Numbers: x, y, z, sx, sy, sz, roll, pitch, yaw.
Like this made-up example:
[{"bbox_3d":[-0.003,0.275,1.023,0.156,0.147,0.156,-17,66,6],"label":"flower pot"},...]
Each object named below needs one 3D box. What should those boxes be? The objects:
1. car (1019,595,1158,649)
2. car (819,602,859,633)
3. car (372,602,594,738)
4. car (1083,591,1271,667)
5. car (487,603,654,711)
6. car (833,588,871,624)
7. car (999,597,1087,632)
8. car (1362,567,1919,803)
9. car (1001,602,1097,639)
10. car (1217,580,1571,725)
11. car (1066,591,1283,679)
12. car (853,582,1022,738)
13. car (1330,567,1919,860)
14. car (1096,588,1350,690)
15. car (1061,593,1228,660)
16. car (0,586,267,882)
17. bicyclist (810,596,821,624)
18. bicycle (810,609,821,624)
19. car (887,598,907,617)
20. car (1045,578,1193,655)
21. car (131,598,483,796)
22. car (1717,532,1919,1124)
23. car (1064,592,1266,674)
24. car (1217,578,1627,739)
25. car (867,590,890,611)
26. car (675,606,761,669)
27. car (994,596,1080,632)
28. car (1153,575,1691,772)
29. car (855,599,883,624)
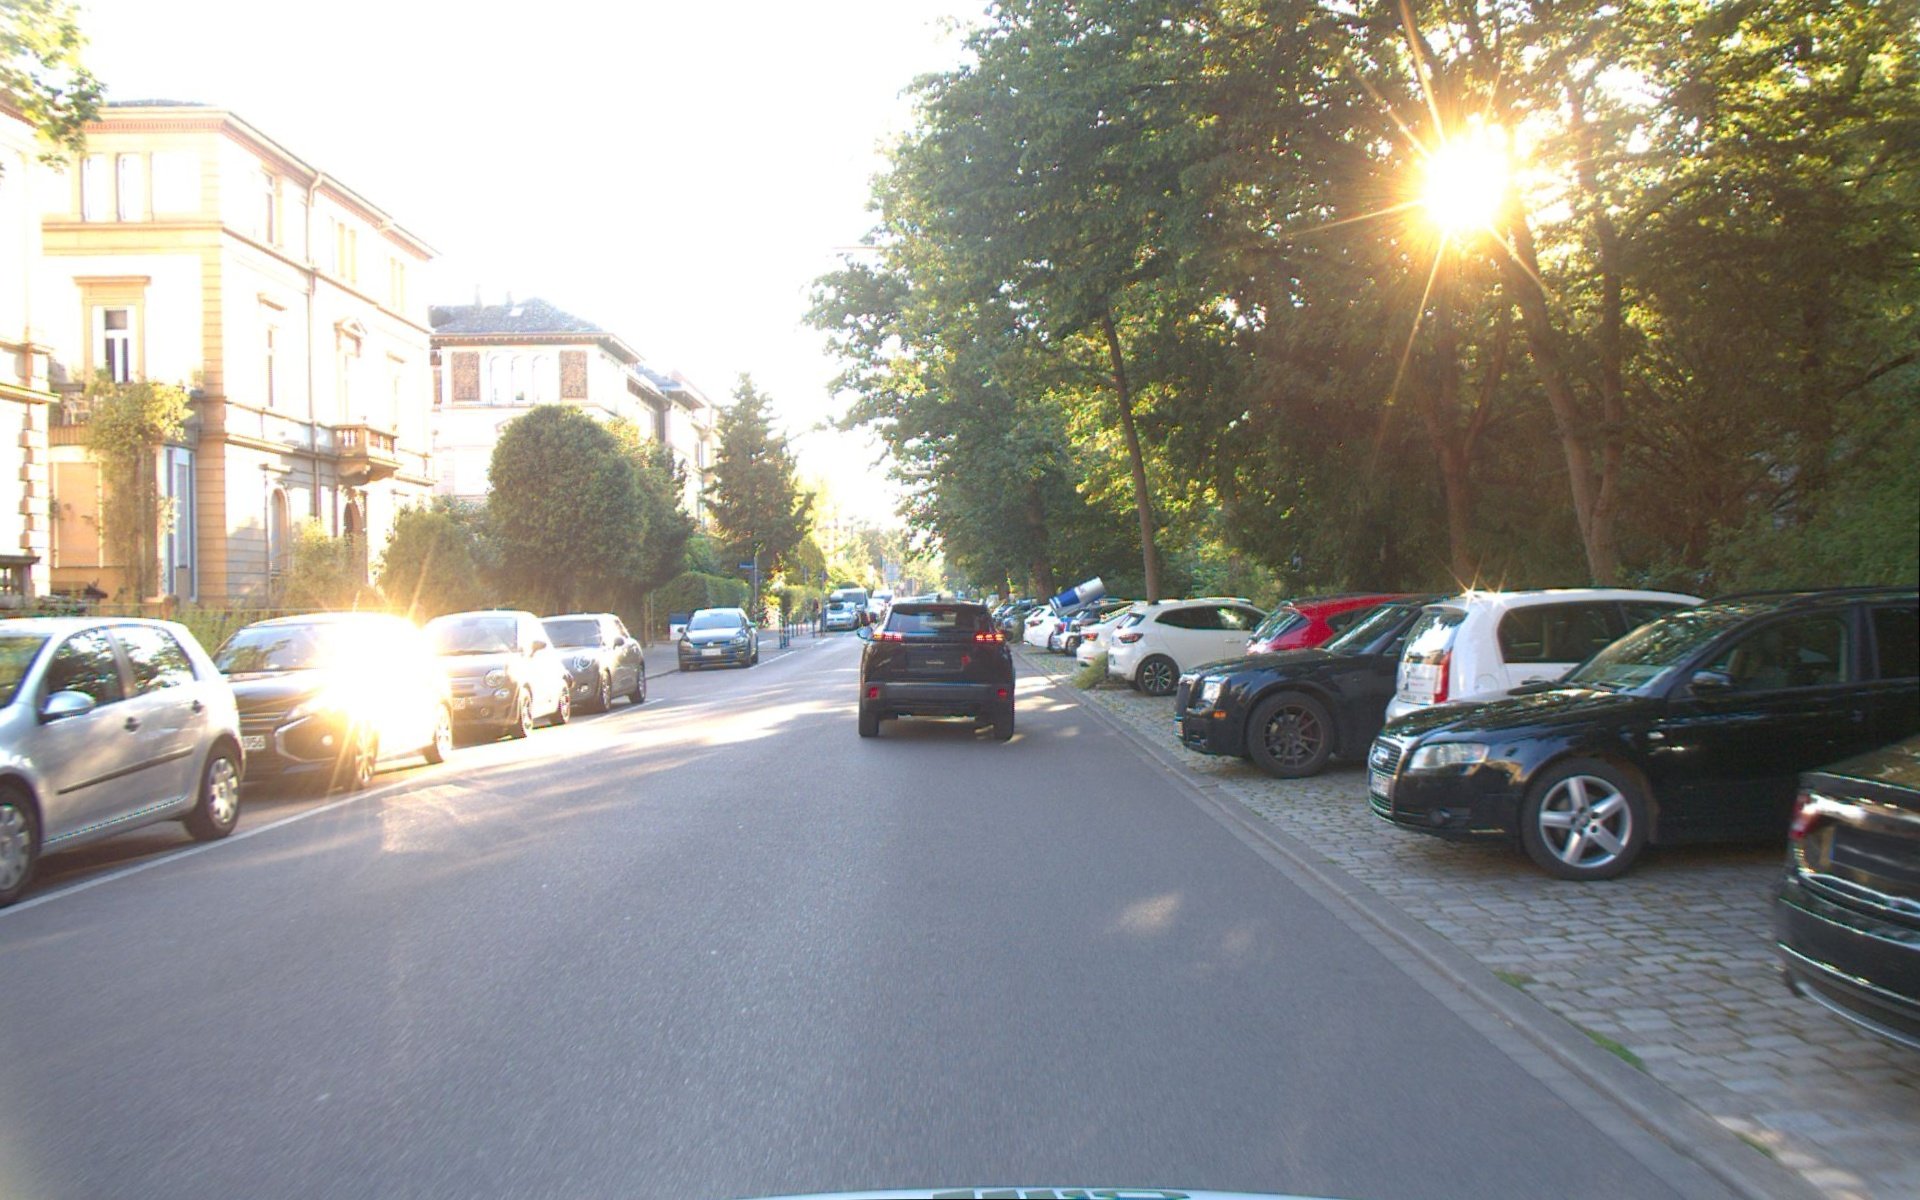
[{"bbox_3d":[3.802,0.649,49.311,3.910,1.552,1.756,0,0,-6],"label":"car"},{"bbox_3d":[-6.364,0.924,87.126,1.861,1.601,3.999,0,0,-1],"label":"car"},{"bbox_3d":[-5.784,0.794,20.520,1.581,1.492,4.035,-1,0,0],"label":"car"},{"bbox_3d":[4.831,0.642,37.085,3.910,1.653,1.756,0,0,-6],"label":"car"},{"bbox_3d":[-5.838,0.809,25.225,1.581,1.492,4.035,-1,0,0],"label":"car"},{"bbox_3d":[-6.340,0.362,97.757,1.952,2.049,4.000,0,0,0],"label":"car"},{"bbox_3d":[3.698,0.655,74.450,3.905,1.552,1.758,0,0,0],"label":"car"},{"bbox_3d":[5.006,0.570,12.027,3.728,1.474,1.826,-2,0,2],"label":"car"},{"bbox_3d":[3.686,0.849,69.051,3.905,1.552,1.758,0,0,0],"label":"car"},{"bbox_3d":[5.186,0.604,20.057,3.733,1.536,1.824,-2,0,-5],"label":"car"},{"bbox_3d":[4.142,0.656,32.251,3.910,1.653,1.756,0,0,-6],"label":"car"},{"bbox_3d":[-0.296,0.632,19.622,1.736,1.596,4.107,2,0,-2],"label":"car"},{"bbox_3d":[4.396,0.590,9.674,4.071,1.474,1.731,-2,0,2],"label":"car"},{"bbox_3d":[4.228,0.619,26.981,3.733,1.474,1.824,-2,0,-5],"label":"car"},{"bbox_3d":[4.614,0.655,41.641,3.910,1.653,1.756,0,0,-6],"label":"car"},{"bbox_3d":[-5.644,0.699,9.546,1.581,1.492,4.035,-1,0,0],"label":"car"},{"bbox_3d":[-9.739,0.670,111.331,0.679,1.823,0.772,0,-1,-4],"label":"bicyclist"},{"bbox_3d":[-9.721,1.109,111.240,0.678,1.033,2.047,0,0,-4],"label":"bicycle"},{"bbox_3d":[-6.375,0.741,167.131,1.953,1.847,3.999,0,0,-1],"label":"car"},{"bbox_3d":[4.440,0.459,46.556,3.910,2.126,1.756,0,0,-6],"label":"car"},{"bbox_3d":[-5.774,0.782,15.168,1.581,1.492,4.035,-3,0,0],"label":"car"},{"bbox_3d":[4.492,0.531,4.634,3.906,1.581,1.725,-2,0,-1],"label":"car"},{"bbox_3d":[4.242,0.679,34.525,3.910,1.653,1.756,0,0,-6],"label":"car"},{"bbox_3d":[4.804,0.589,17.542,3.733,1.474,1.875,-2,0,-5],"label":"car"},{"bbox_3d":[-7.308,0.062,148.597,1.953,1.847,3.999,0,0,-1],"label":"car"},{"bbox_3d":[-6.072,0.909,41.853,1.717,1.438,3.762,-2,0,-2],"label":"car"},{"bbox_3d":[3.557,0.630,76.918,3.905,1.652,1.758,0,0,0],"label":"car"},{"bbox_3d":[3.966,0.608,14.729,4.158,1.474,2.020,-2,0,-3],"label":"car"},{"bbox_3d":[-6.868,0.839,125.396,1.953,1.847,3.999,0,0,-1],"label":"car"}]
